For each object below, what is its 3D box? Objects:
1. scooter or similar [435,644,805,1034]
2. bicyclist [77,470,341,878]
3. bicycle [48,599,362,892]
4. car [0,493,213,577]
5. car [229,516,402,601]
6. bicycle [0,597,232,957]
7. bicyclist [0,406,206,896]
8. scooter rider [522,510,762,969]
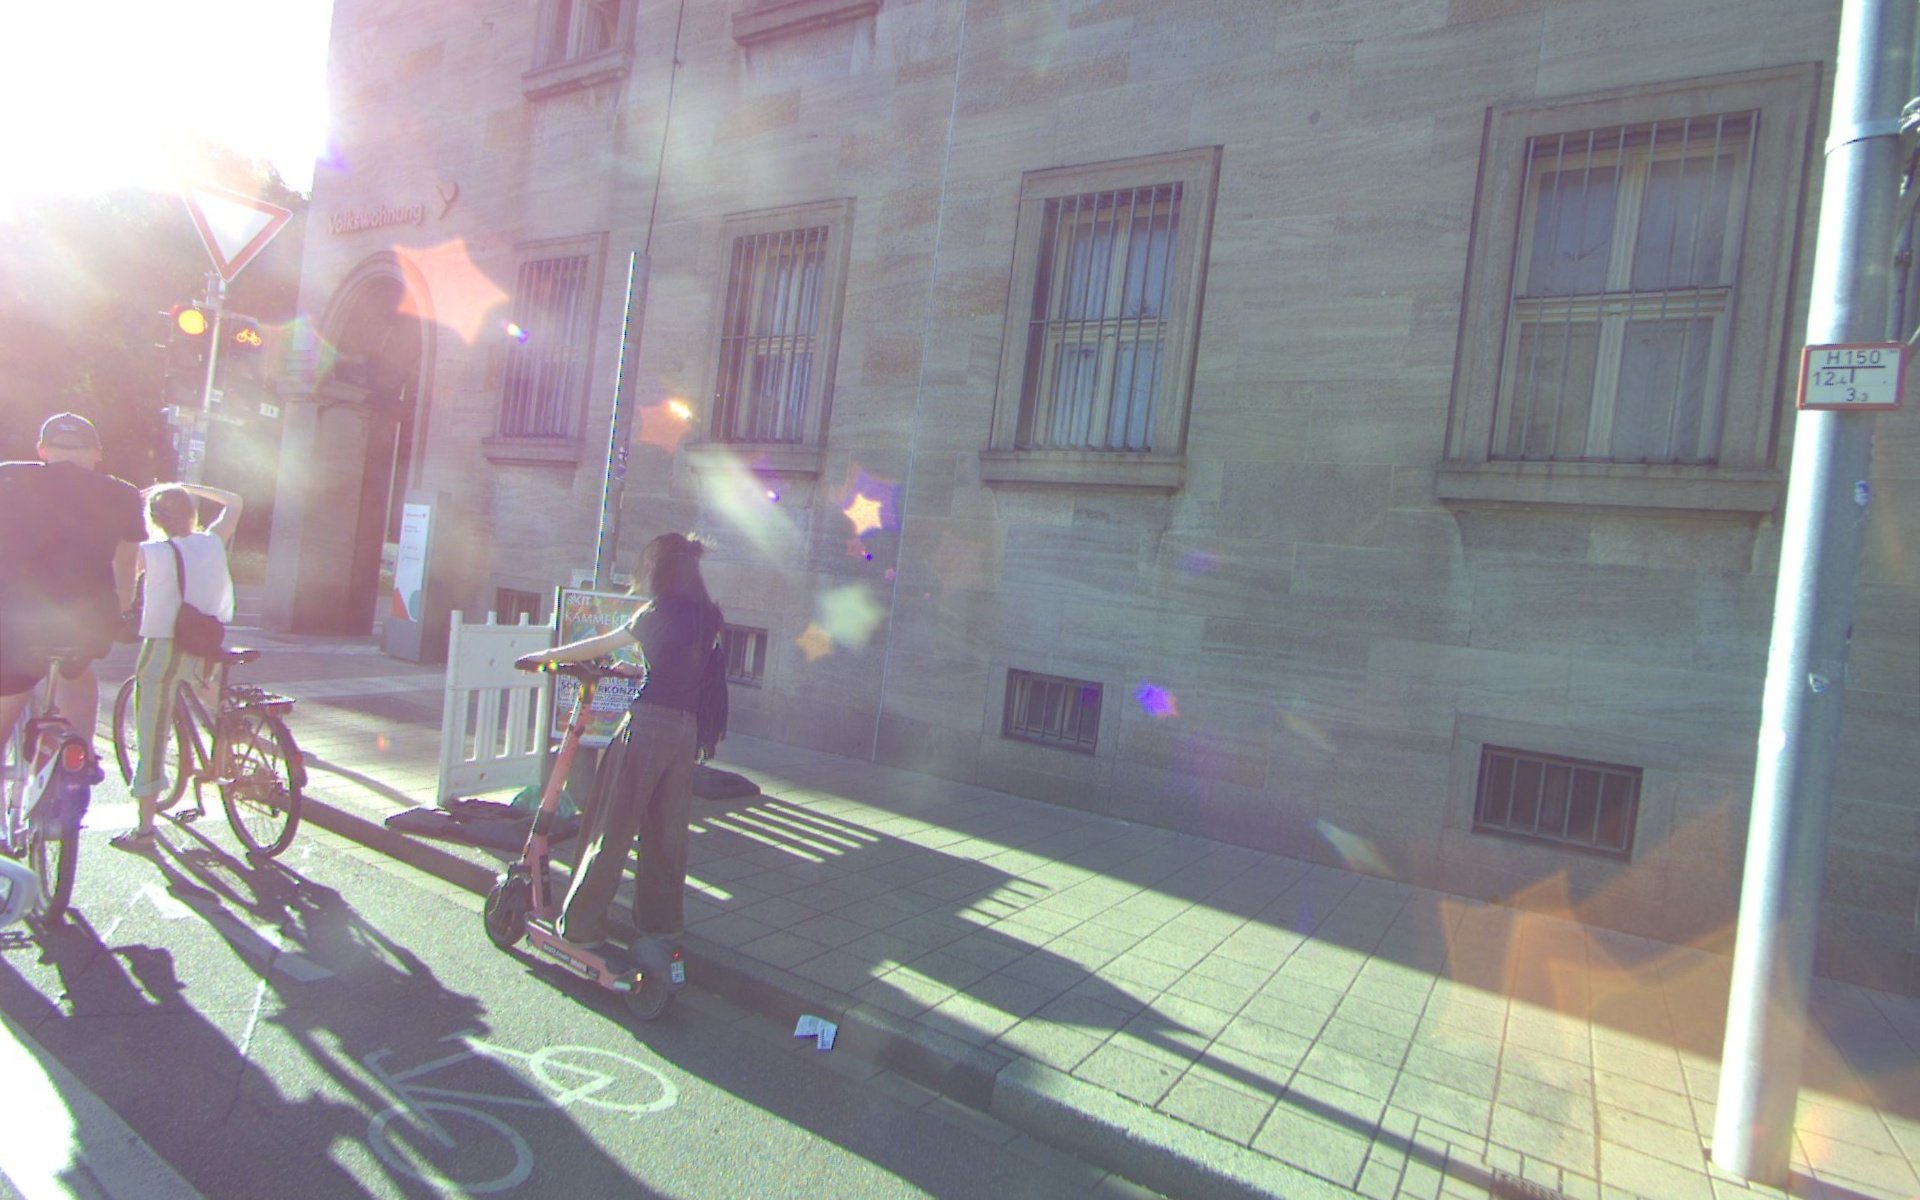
[{"bbox_3d":[-1.359,0.853,3.987,1.250,1.163,0.574,8,0,30],"label":"scooter or similar"},{"bbox_3d":[-3.636,0.314,4.866,0.934,1.760,0.584,7,0,32],"label":"bicyclist"},{"bbox_3d":[-3.703,0.628,4.887,1.718,1.057,0.582,7,0,33],"label":"bicycle"},{"bbox_3d":[-23.473,-1.749,27.348,1.967,1.533,4.586,6,-2,32],"label":"car"},{"bbox_3d":[-20.273,-1.260,31.804,1.968,2.037,3.994,6,-2,33],"label":"car"},{"bbox_3d":[-3.714,0.590,3.990,1.717,1.057,0.624,7,0,31],"label":"bicycle"},{"bbox_3d":[-3.651,0.169,3.984,0.897,1.736,0.624,7,0,30],"label":"bicyclist"},{"bbox_3d":[-1.220,0.491,3.837,0.542,1.581,0.571,7,0,-38],"label":"scooter rider"}]
